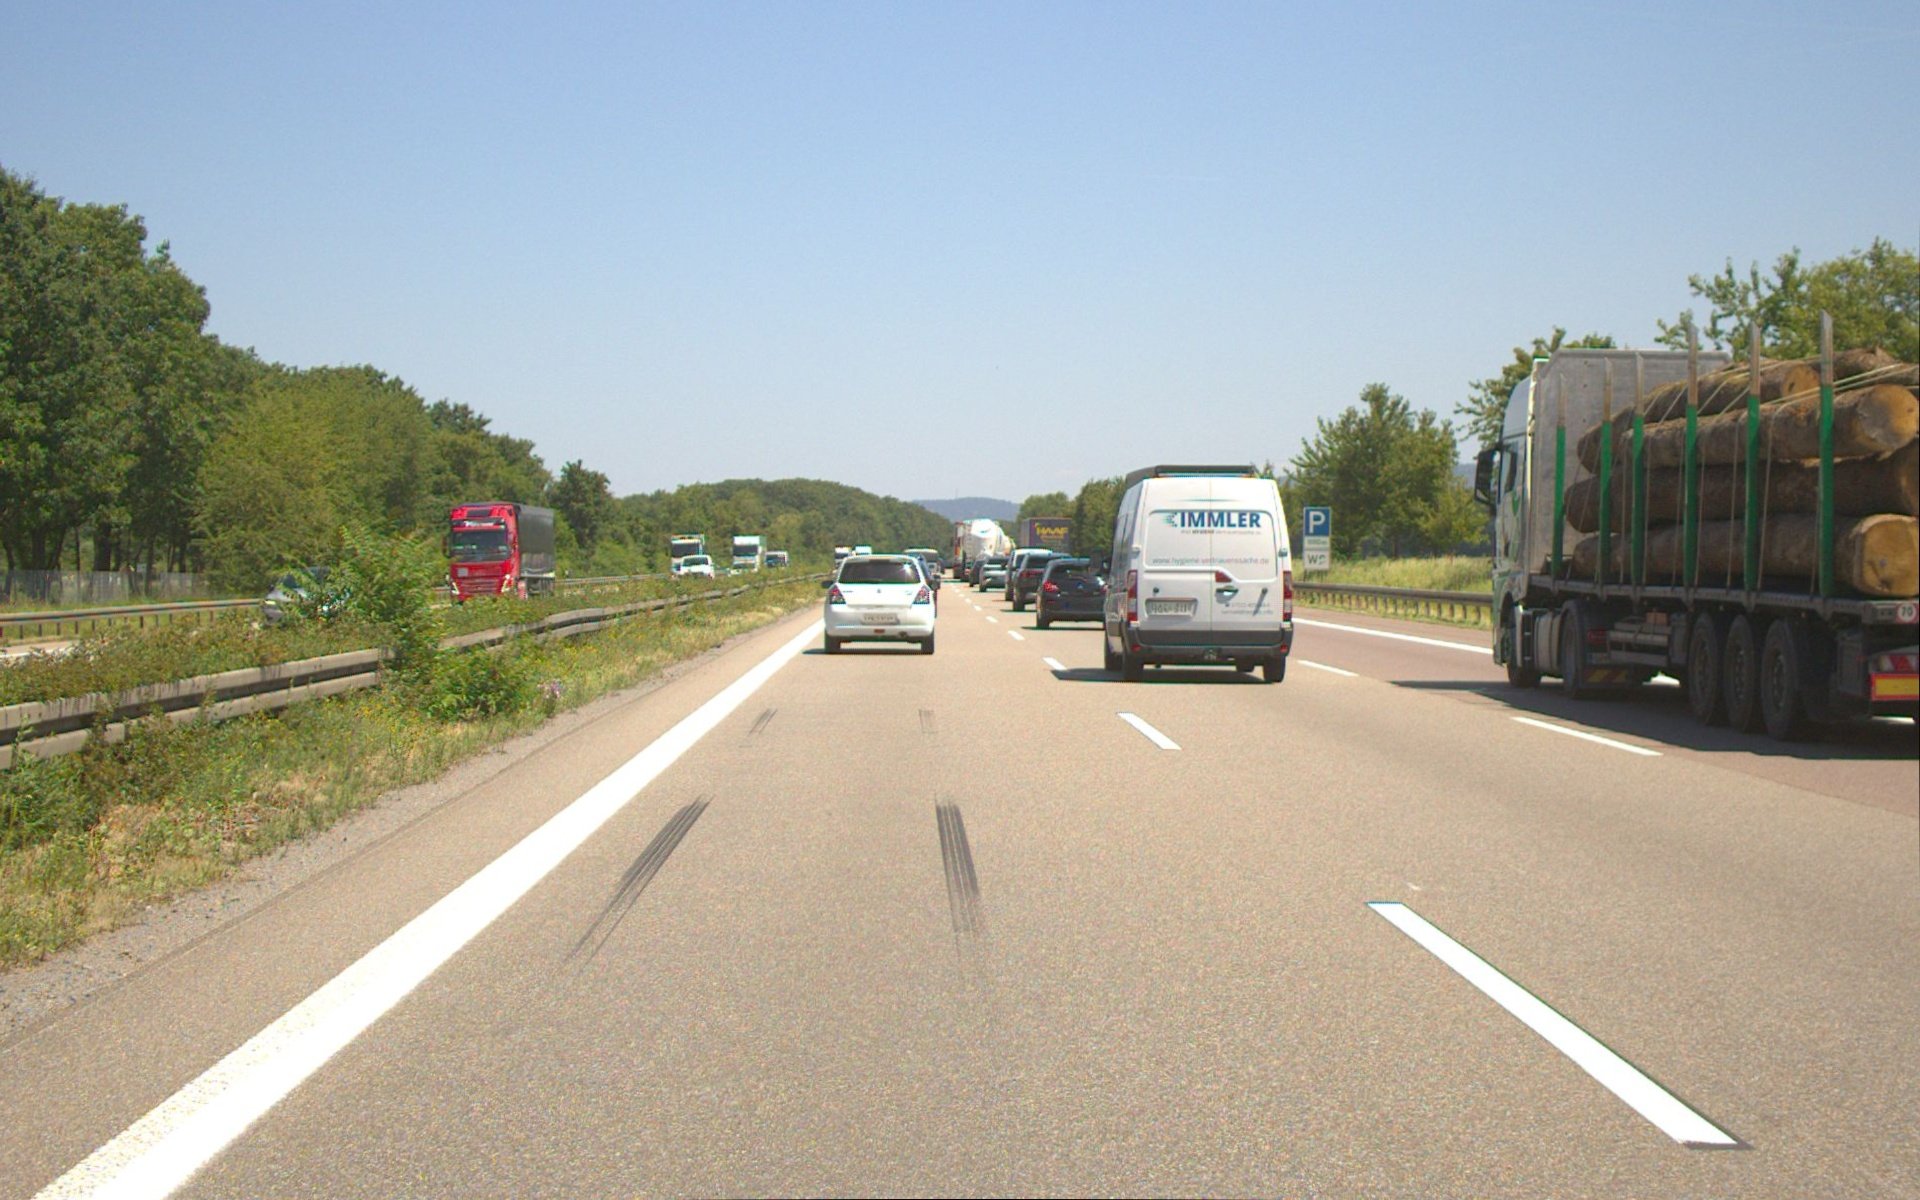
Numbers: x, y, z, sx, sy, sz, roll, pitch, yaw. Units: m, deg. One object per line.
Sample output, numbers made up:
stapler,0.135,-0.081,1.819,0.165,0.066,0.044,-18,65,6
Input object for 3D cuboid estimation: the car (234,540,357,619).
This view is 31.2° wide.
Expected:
car,-15.018,-0.486,77.945,1.846,1.676,4.815,-2,1,-1

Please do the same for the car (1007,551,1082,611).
car,2.366,-0.552,97.052,1.857,1.646,4.000,1,1,-2

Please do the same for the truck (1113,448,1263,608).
truck,6.458,-2.030,100.099,3.079,4.194,16.844,1,1,0

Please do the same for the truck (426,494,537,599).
truck,-18.868,-2.120,135.929,3.439,3.917,6.221,-2,1,-1

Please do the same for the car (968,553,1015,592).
car,1.373,-1.225,152.057,1.857,1.646,4.000,1,1,-2

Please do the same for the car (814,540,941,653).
car,-1.319,-0.072,53.492,1.857,1.646,4.000,1,1,-2

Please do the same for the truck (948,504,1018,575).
truck,1.363,-3.786,215.902,3.257,4.194,16.845,1,1,-3

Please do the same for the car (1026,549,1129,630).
car,2.450,-0.246,72.589,1.857,1.646,4.000,1,1,-2

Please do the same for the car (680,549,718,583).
car,-15.526,-2.047,204.537,1.995,1.906,5.212,-2,1,-2

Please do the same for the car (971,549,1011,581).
car,1.597,-1.804,176.619,1.857,1.646,4.000,1,1,-2

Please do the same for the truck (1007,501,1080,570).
truck,5.288,-4.145,221.768,3.257,4.194,16.845,1,1,-3

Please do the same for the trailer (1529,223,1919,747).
trailer,7.989,-0.956,32.747,2.653,3.945,13.637,1,1,-1

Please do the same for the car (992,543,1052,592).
car,2.164,-1.146,120.216,1.857,1.646,4.000,1,1,-2

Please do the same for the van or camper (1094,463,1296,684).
van or camper,2.906,-0.355,43.811,2.058,2.613,5.985,0,1,-1

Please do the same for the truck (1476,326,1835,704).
truck,7.884,-0.953,39.829,2.669,3.981,6.636,1,1,-1

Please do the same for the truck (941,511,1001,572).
truck,0.714,-4.200,249.593,3.257,4.194,16.845,1,1,-3
